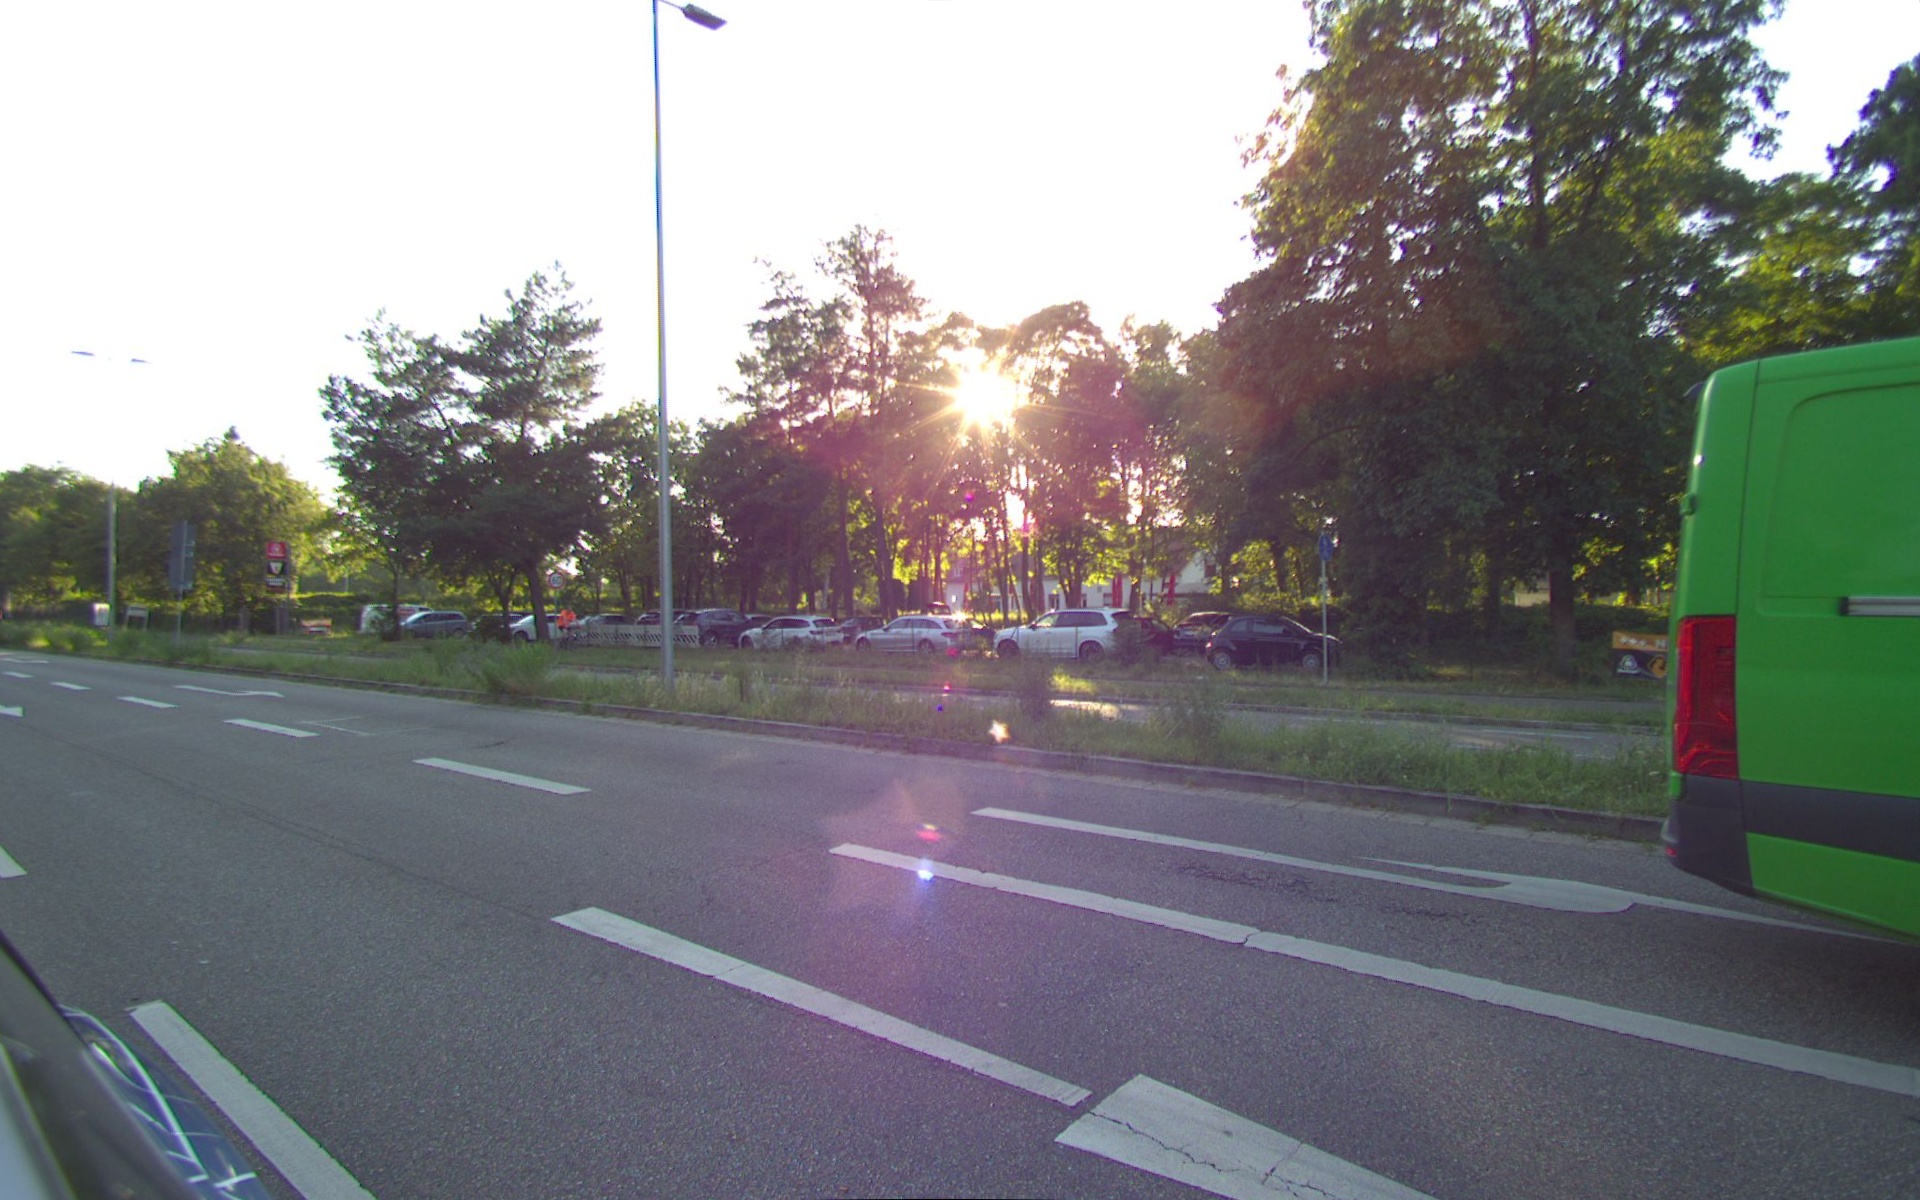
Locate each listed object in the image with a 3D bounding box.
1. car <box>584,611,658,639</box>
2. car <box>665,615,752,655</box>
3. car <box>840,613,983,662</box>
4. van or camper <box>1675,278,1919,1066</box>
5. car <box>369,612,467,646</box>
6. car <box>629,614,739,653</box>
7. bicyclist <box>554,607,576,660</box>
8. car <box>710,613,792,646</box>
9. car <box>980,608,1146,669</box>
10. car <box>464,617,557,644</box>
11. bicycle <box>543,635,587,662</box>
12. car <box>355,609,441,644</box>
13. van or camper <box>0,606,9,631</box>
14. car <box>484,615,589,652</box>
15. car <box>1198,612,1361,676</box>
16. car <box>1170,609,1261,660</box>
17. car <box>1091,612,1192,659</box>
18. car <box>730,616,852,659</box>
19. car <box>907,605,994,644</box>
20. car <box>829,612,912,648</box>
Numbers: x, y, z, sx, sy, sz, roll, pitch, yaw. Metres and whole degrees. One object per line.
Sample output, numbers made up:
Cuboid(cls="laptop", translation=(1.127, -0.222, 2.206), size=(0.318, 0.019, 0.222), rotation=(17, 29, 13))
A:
Cuboid(cls="car", translation=(-20.491, 1.519, 61.243), size=(1.765, 1.663, 3.947), rotation=(-1, -2, 40))
Cuboid(cls="car", translation=(-10.203, 1.409, 41.154), size=(1.657, 1.538, 3.060), rotation=(-1, -2, 38))
Cuboid(cls="car", translation=(-1.740, 1.287, 35.596), size=(4.913, 1.619, 1.975), rotation=(-1, -2, 37))
Cuboid(cls="van or camper", translation=(5.386, 0.199, 2.387), size=(5.891, 2.439, 1.973), rotation=(-1, -2, 40))
Cuboid(cls="car", translation=(-30.268, 1.622, 56.640), size=(1.907, 1.811, 4.443), rotation=(-1, -2, 38))
Cuboid(cls="car", translation=(-11.907, 1.423, 43.928), size=(1.769, 1.629, 4.470), rotation=(-1, -2, 37))
Cuboid(cls="bicyclist", translation=(-14.220, 1.194, 36.437), size=(0.617, 1.888, 0.454), rotation=(-1, -2, 38))
Cuboid(cls="car", translation=(-10.896, 1.529, 52.953), size=(1.765, 1.663, 3.947), rotation=(-1, -2, 40))
Cuboid(cls="car", translation=(3.179, 1.175, 31.810), size=(4.913, 1.800, 1.975), rotation=(-1, -2, 37))
Cuboid(cls="car", translation=(-22.773, 1.548, 51.389), size=(1.731, 1.322, 3.947), rotation=(-1, -2, 39))
Cuboid(cls="bicycle", translation=(-14.242, 1.730, 36.449), size=(2.042, 0.940, 0.487), rotation=(-1, -2, 38))
Cuboid(cls="car", translation=(-32.537, 1.534, 58.668), size=(1.764, 1.959, 3.949), rotation=(-1, -2, 38))
Cuboid(cls="van or camper", translation=(-79.658, 1.525, 82.702), size=(4.569, 2.029, 1.975), rotation=(-1, -2, 36))
Cuboid(cls="car", translation=(-20.798, 1.633, 49.849), size=(1.908, 1.767, 4.441), rotation=(-1, -2, 39))
Cuboid(cls="car", translation=(8.578, 1.142, 27.255), size=(3.807, 1.609, 1.838), rotation=(-1, -2, 36))
Cuboid(cls="car", translation=(9.006, 1.170, 35.449), size=(1.914, 1.663, 3.954), rotation=(-1, -2, 34))
Cuboid(cls="car", translation=(6.828, 1.309, 37.851), size=(1.918, 1.663, 3.944), rotation=(-1, -2, 42))
Cuboid(cls="car", translation=(-6.599, 1.419, 39.299), size=(4.701, 1.560, 1.975), rotation=(-1, -2, 37))
Cuboid(cls="car", translation=(-0.380, 1.105, 45.117), size=(1.765, 1.663, 3.947), rotation=(-1, -2, 39))
Cuboid(cls="car", translation=(-4.315, 1.454, 49.052), size=(1.765, 1.663, 3.947), rotation=(-1, -2, 39))
